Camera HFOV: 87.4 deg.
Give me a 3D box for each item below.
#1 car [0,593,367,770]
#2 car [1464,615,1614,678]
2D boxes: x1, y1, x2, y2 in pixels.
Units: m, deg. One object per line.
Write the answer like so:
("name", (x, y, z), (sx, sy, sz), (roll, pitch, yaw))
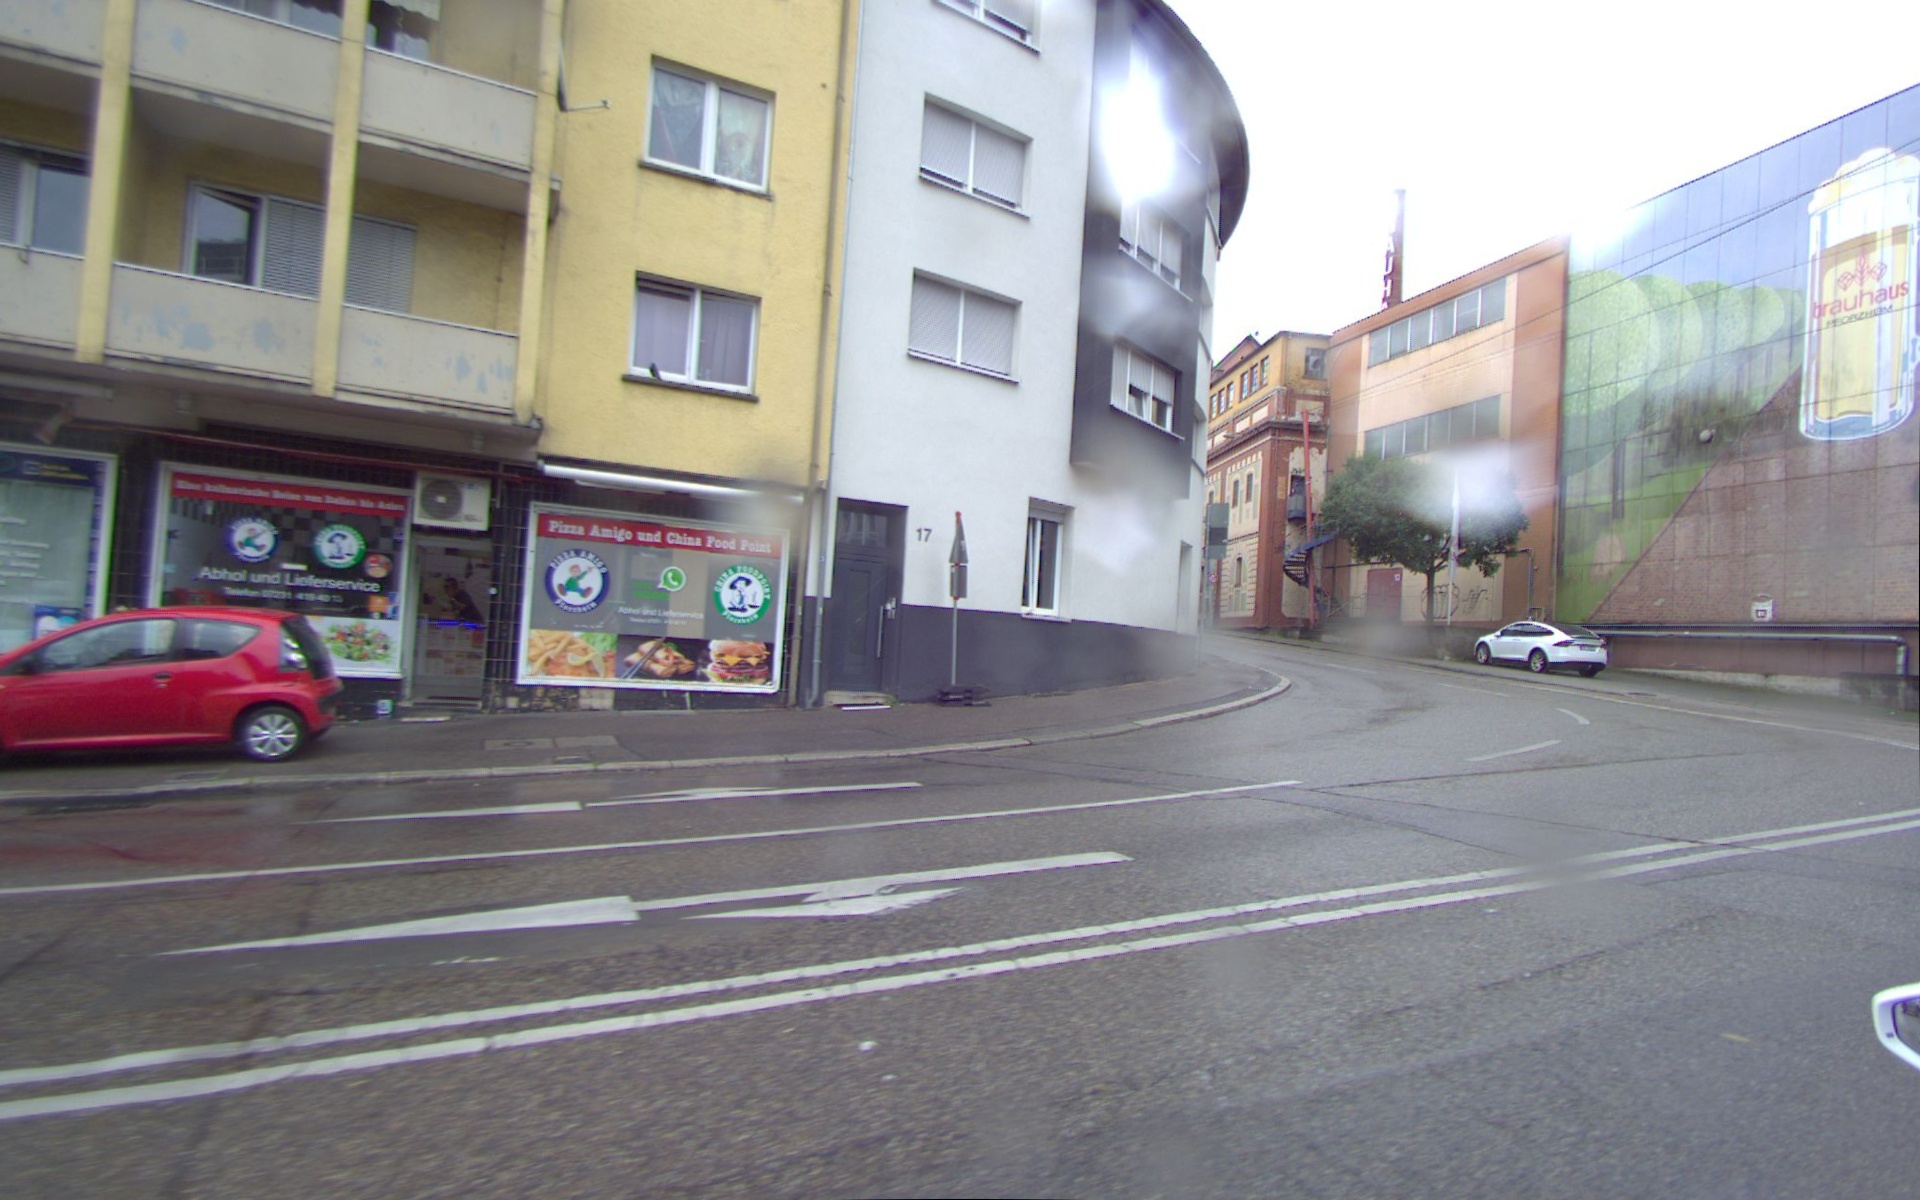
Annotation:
("car", (-7.934, 0.742, 9.813), (3.486, 1.484, 1.605), (2, 1, -25))
("car", (19.664, 1.536, 34.429), (1.824, 1.639, 4.910), (4, 2, -6))
